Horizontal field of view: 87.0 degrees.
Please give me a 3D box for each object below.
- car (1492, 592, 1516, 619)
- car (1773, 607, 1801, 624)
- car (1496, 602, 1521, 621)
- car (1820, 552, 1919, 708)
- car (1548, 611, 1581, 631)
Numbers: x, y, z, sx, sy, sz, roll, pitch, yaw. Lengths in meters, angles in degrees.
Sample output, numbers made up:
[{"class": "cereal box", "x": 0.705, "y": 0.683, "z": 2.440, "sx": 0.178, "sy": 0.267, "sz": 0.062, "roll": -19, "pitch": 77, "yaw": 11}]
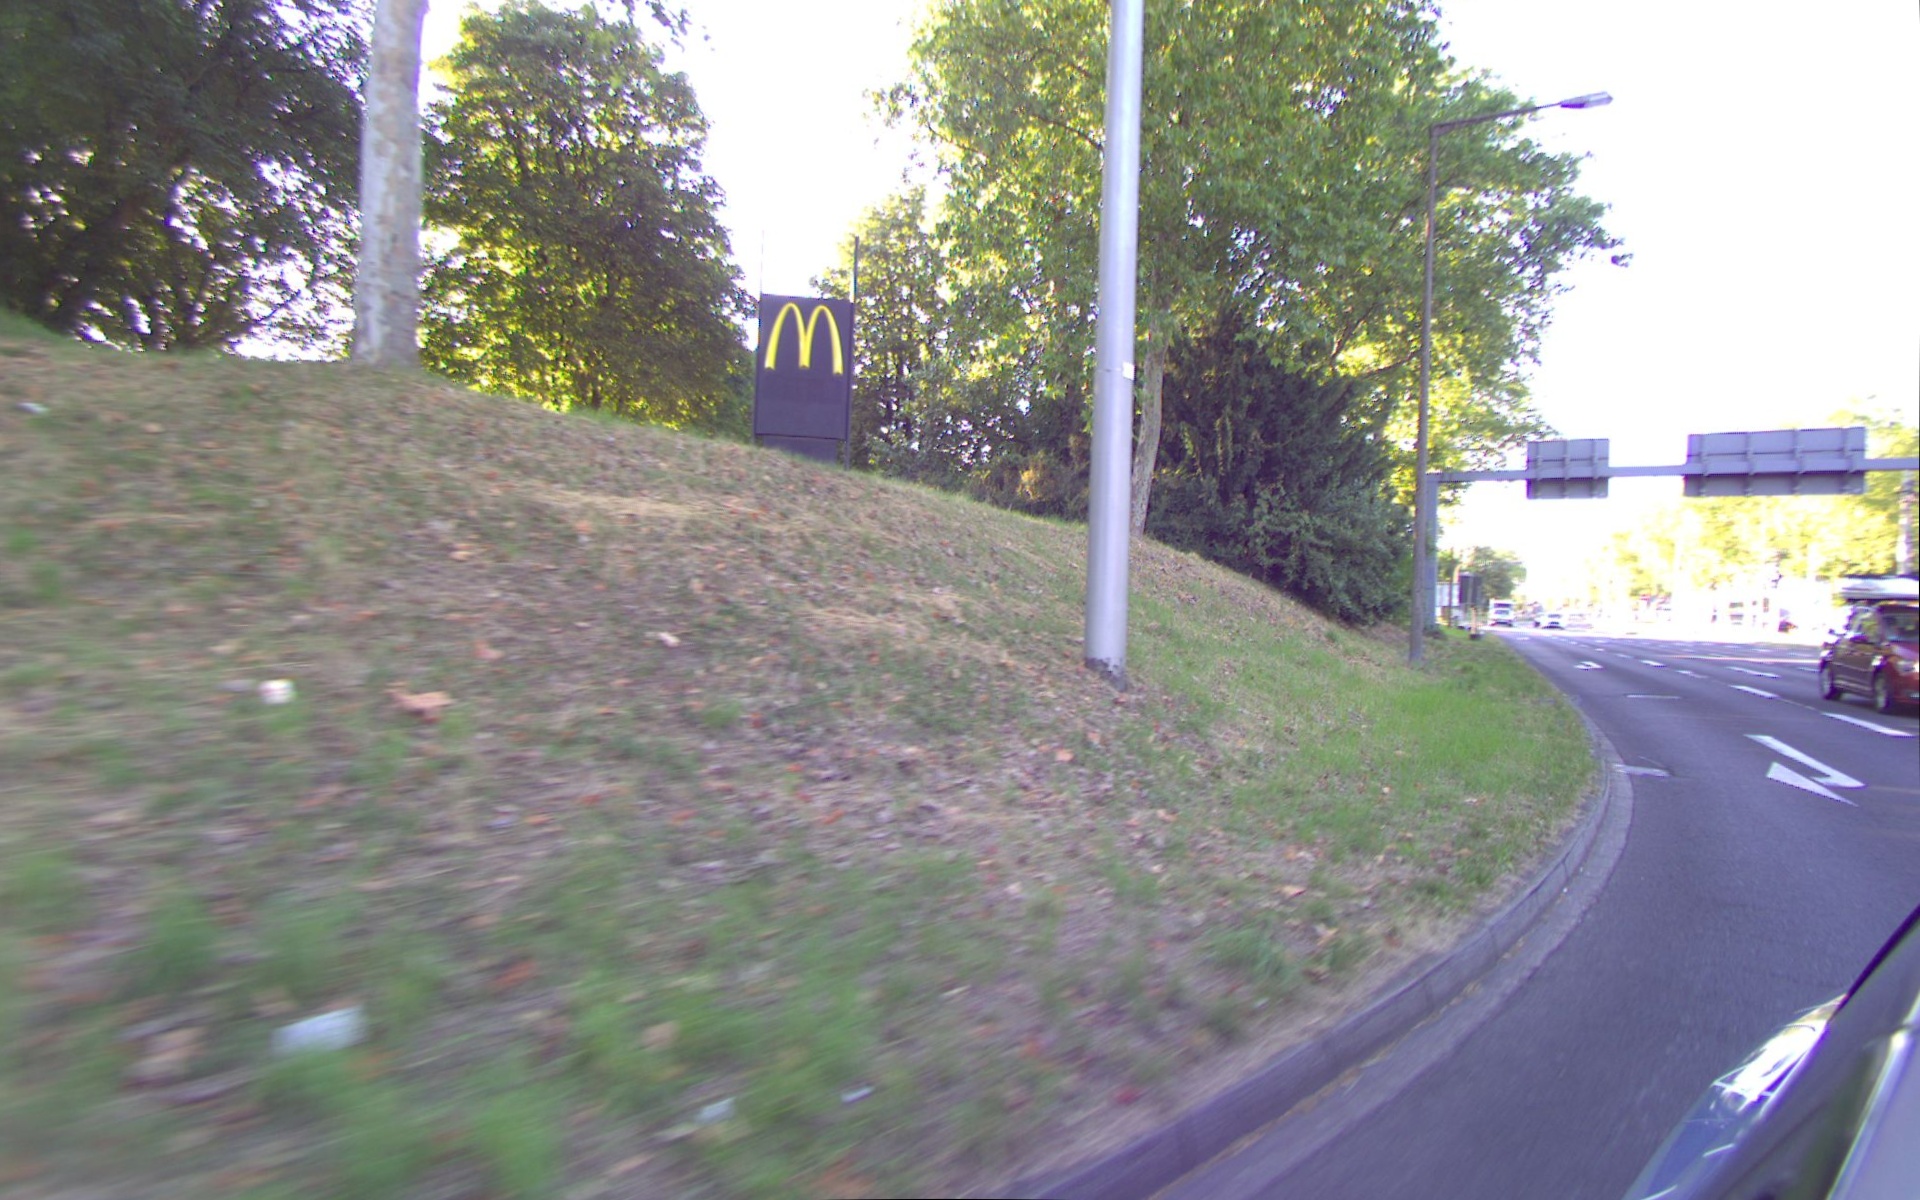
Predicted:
[{"class": "car", "x": 54.755, "y": 0.557, "z": 101.916, "sx": 1.992, "sy": 2.562, "sz": 5.817, "roll": 3, "pitch": 1, "yaw": 28}, {"class": "car", "x": 109.813, "y": 2.097, "z": 134.416, "sx": 1.983, "sy": 2.092, "sz": 4.148, "roll": 3, "pitch": 1, "yaw": 29}, {"class": "car", "x": 50.455, "y": 1.052, "z": 93.141, "sx": 1.859, "sy": 1.638, "sz": 4.504, "roll": 3, "pitch": 1, "yaw": 27}, {"class": "car", "x": 14.751, "y": 0.480, "z": 15.252, "sx": 1.782, "sy": 2.131, "sz": 3.961, "roll": 3, "pitch": 1, "yaw": 27}, {"class": "car", "x": 54.575, "y": 1.927, "z": 91.337, "sx": 1.868, "sy": 1.638, "sz": 3.942, "roll": 3, "pitch": 1, "yaw": 40}]
